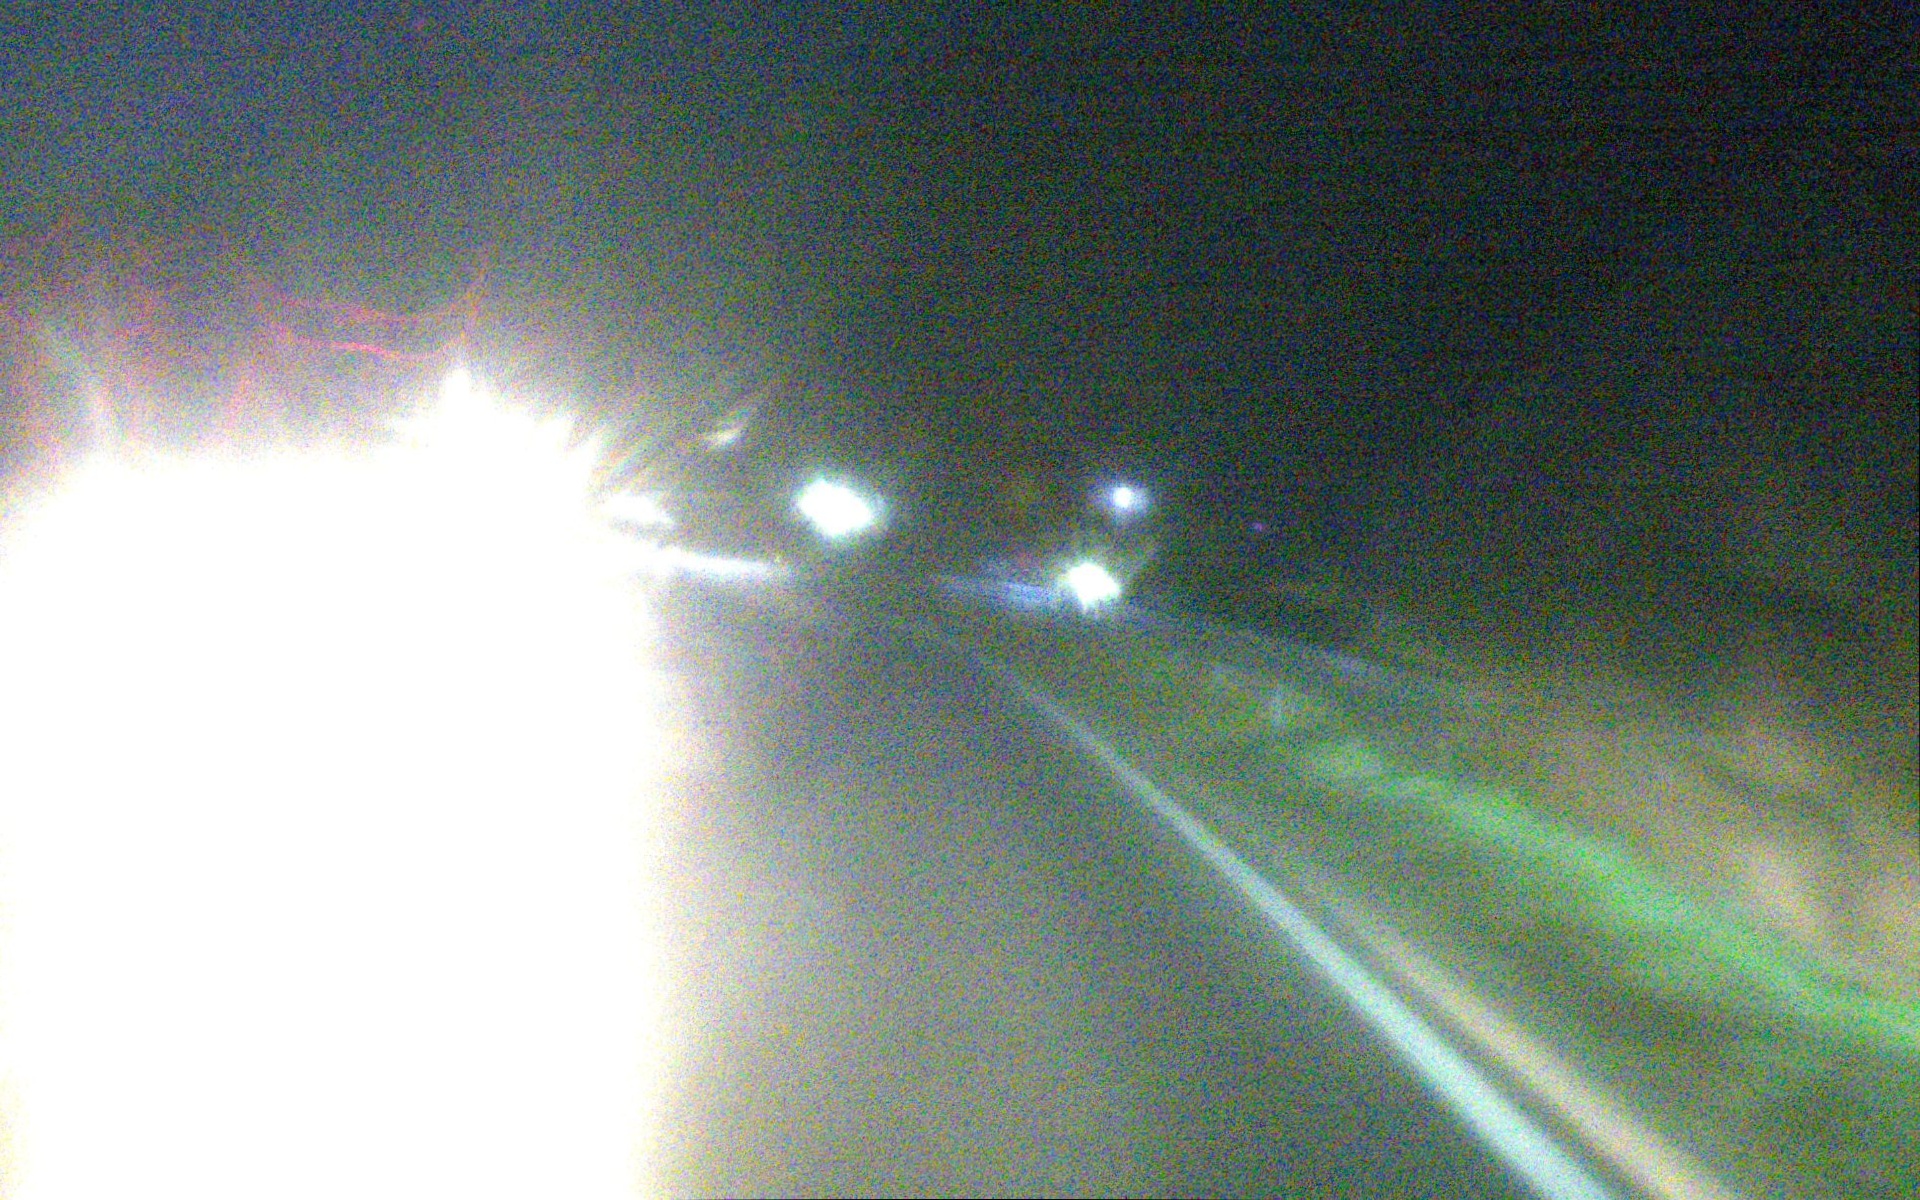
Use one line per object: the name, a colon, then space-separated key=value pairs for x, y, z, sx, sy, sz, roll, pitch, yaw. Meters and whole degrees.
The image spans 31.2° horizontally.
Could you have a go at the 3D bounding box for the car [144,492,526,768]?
car: x=-3.971 y=0.138 z=22.473 sx=1.920 sy=1.640 sz=4.026 roll=0 pitch=1 yaw=-2
